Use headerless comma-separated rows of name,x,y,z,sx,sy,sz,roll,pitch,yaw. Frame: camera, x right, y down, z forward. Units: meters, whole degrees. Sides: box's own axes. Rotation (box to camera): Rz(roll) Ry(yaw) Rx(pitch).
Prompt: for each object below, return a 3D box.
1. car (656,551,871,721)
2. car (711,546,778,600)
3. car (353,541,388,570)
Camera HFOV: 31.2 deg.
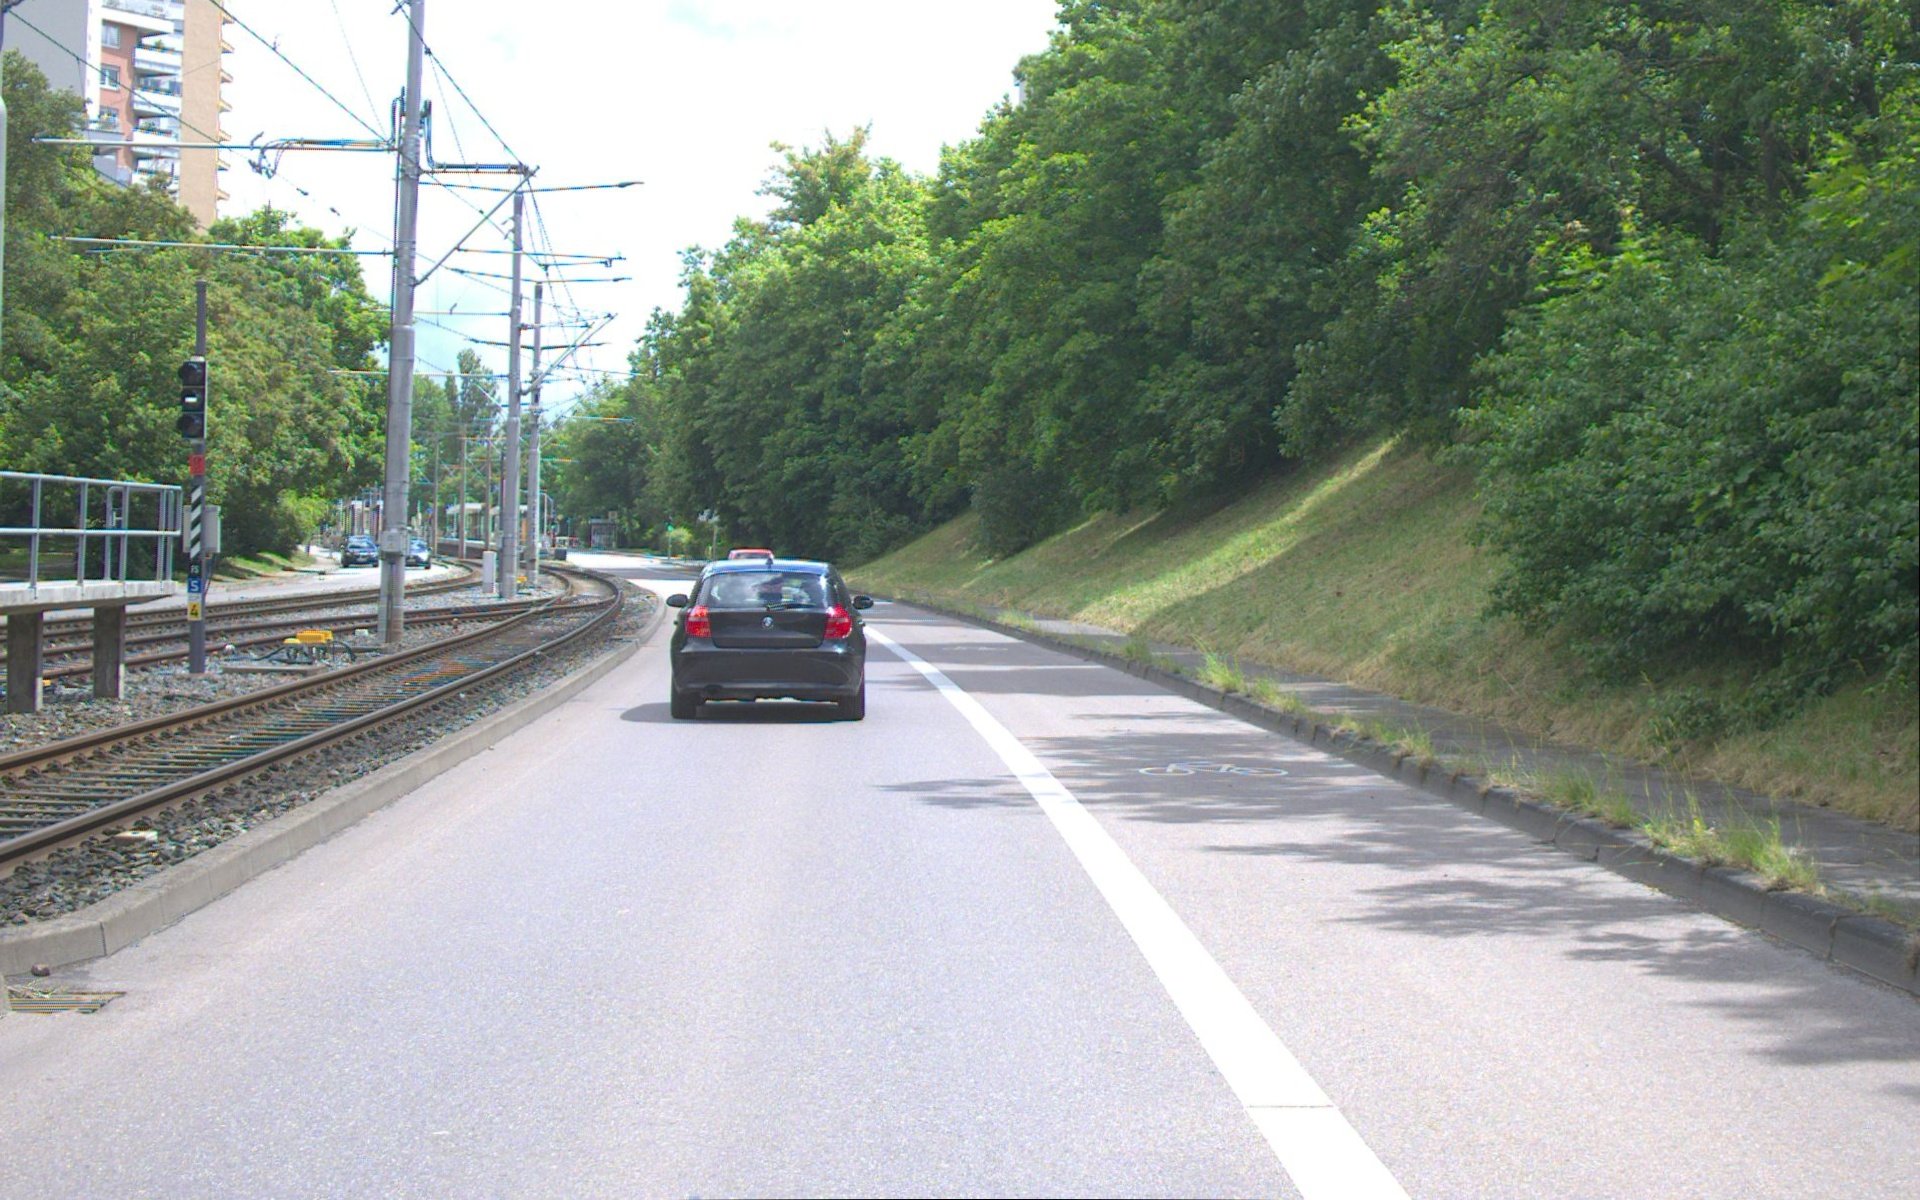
car,-1.853,0.278,31.393,1.781,1.454,3.922,0,1,-6
car,-6.045,-0.754,96.085,1.781,1.454,3.922,1,1,-5
car,-31.011,-2.358,180.703,1.774,1.493,3.998,1,1,-10
